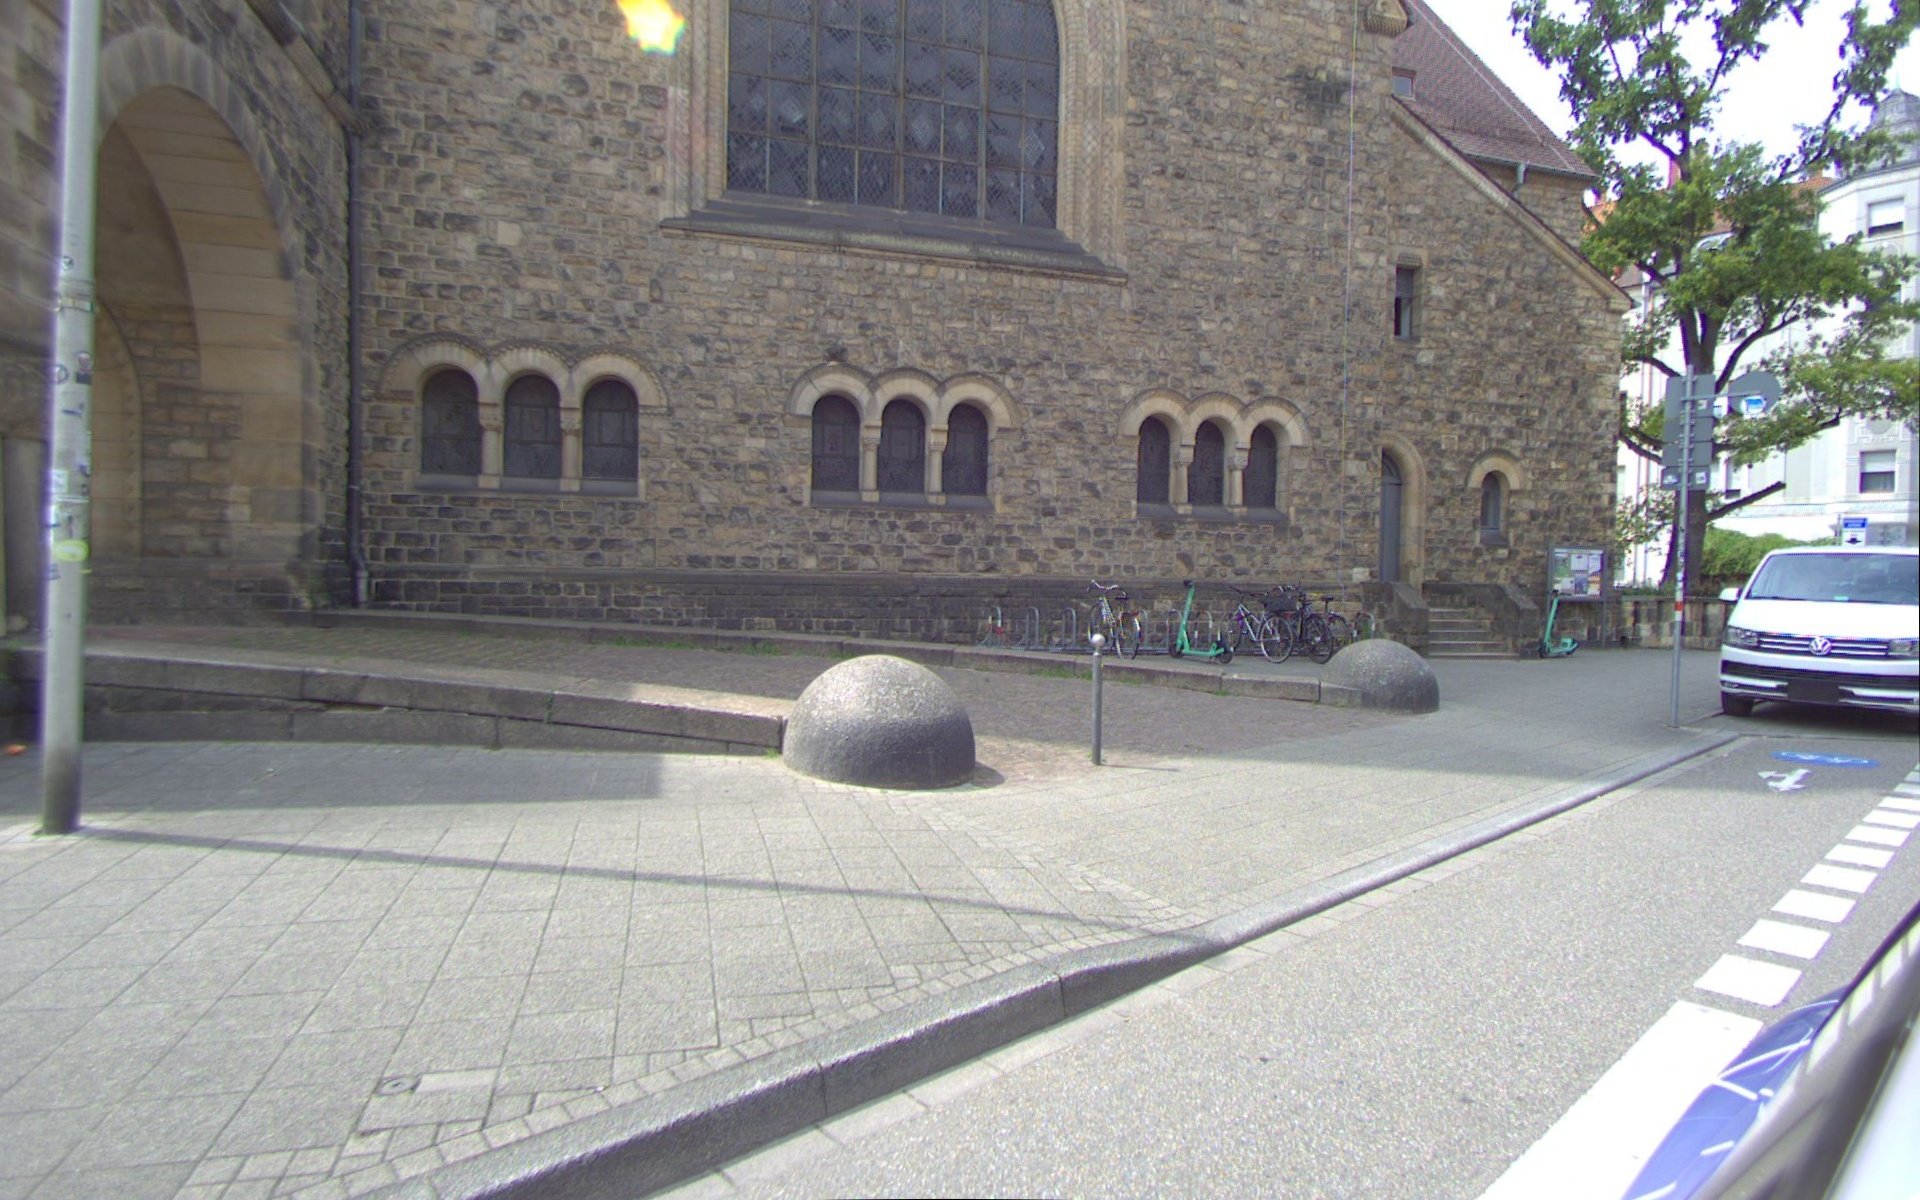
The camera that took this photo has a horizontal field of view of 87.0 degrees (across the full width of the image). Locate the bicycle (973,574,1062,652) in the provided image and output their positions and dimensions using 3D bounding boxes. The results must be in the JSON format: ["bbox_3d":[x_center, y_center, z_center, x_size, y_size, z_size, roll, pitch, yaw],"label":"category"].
[{"bbox_3d":[0.780,0.155,14.292,0.534,0.969,1.787,1,3,-21],"label":"bicycle"}]

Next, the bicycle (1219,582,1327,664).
[{"bbox_3d":[4.691,0.319,15.287,0.534,1.125,1.786,1,1,-21],"label":"bicycle"}]

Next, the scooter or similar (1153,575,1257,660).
[{"bbox_3d":[3.572,0.233,14.938,0.534,1.154,1.786,1,1,-21],"label":"scooter or similar"}]

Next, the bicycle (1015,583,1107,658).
[{"bbox_3d":[1.412,0.259,14.485,0.534,0.969,1.786,1,1,-21],"label":"bicycle"}]

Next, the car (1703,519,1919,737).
[{"bbox_3d":[10.500,0.190,11.723,5.036,2.054,2.018,-1,3,-42],"label":"car"}]

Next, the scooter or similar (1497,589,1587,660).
[{"bbox_3d":[10.368,0.436,18.024,1.450,1.222,0.547,1,1,-21],"label":"scooter or similar"}]

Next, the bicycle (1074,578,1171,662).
[{"bbox_3d":[2.325,0.259,14.698,0.534,1.125,1.786,1,1,-21],"label":"bicycle"}]

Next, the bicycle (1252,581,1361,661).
[{"bbox_3d":[5.263,0.287,15.486,0.534,1.125,1.779,1,1,-21],"label":"bicycle"}]

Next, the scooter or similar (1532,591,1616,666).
[{"bbox_3d":[10.540,0.477,17.362,1.413,1.222,0.547,1,1,-27],"label":"scooter or similar"}]

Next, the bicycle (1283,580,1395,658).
[{"bbox_3d":[5.851,0.266,15.731,0.534,1.125,1.786,1,1,-21],"label":"bicycle"}]
